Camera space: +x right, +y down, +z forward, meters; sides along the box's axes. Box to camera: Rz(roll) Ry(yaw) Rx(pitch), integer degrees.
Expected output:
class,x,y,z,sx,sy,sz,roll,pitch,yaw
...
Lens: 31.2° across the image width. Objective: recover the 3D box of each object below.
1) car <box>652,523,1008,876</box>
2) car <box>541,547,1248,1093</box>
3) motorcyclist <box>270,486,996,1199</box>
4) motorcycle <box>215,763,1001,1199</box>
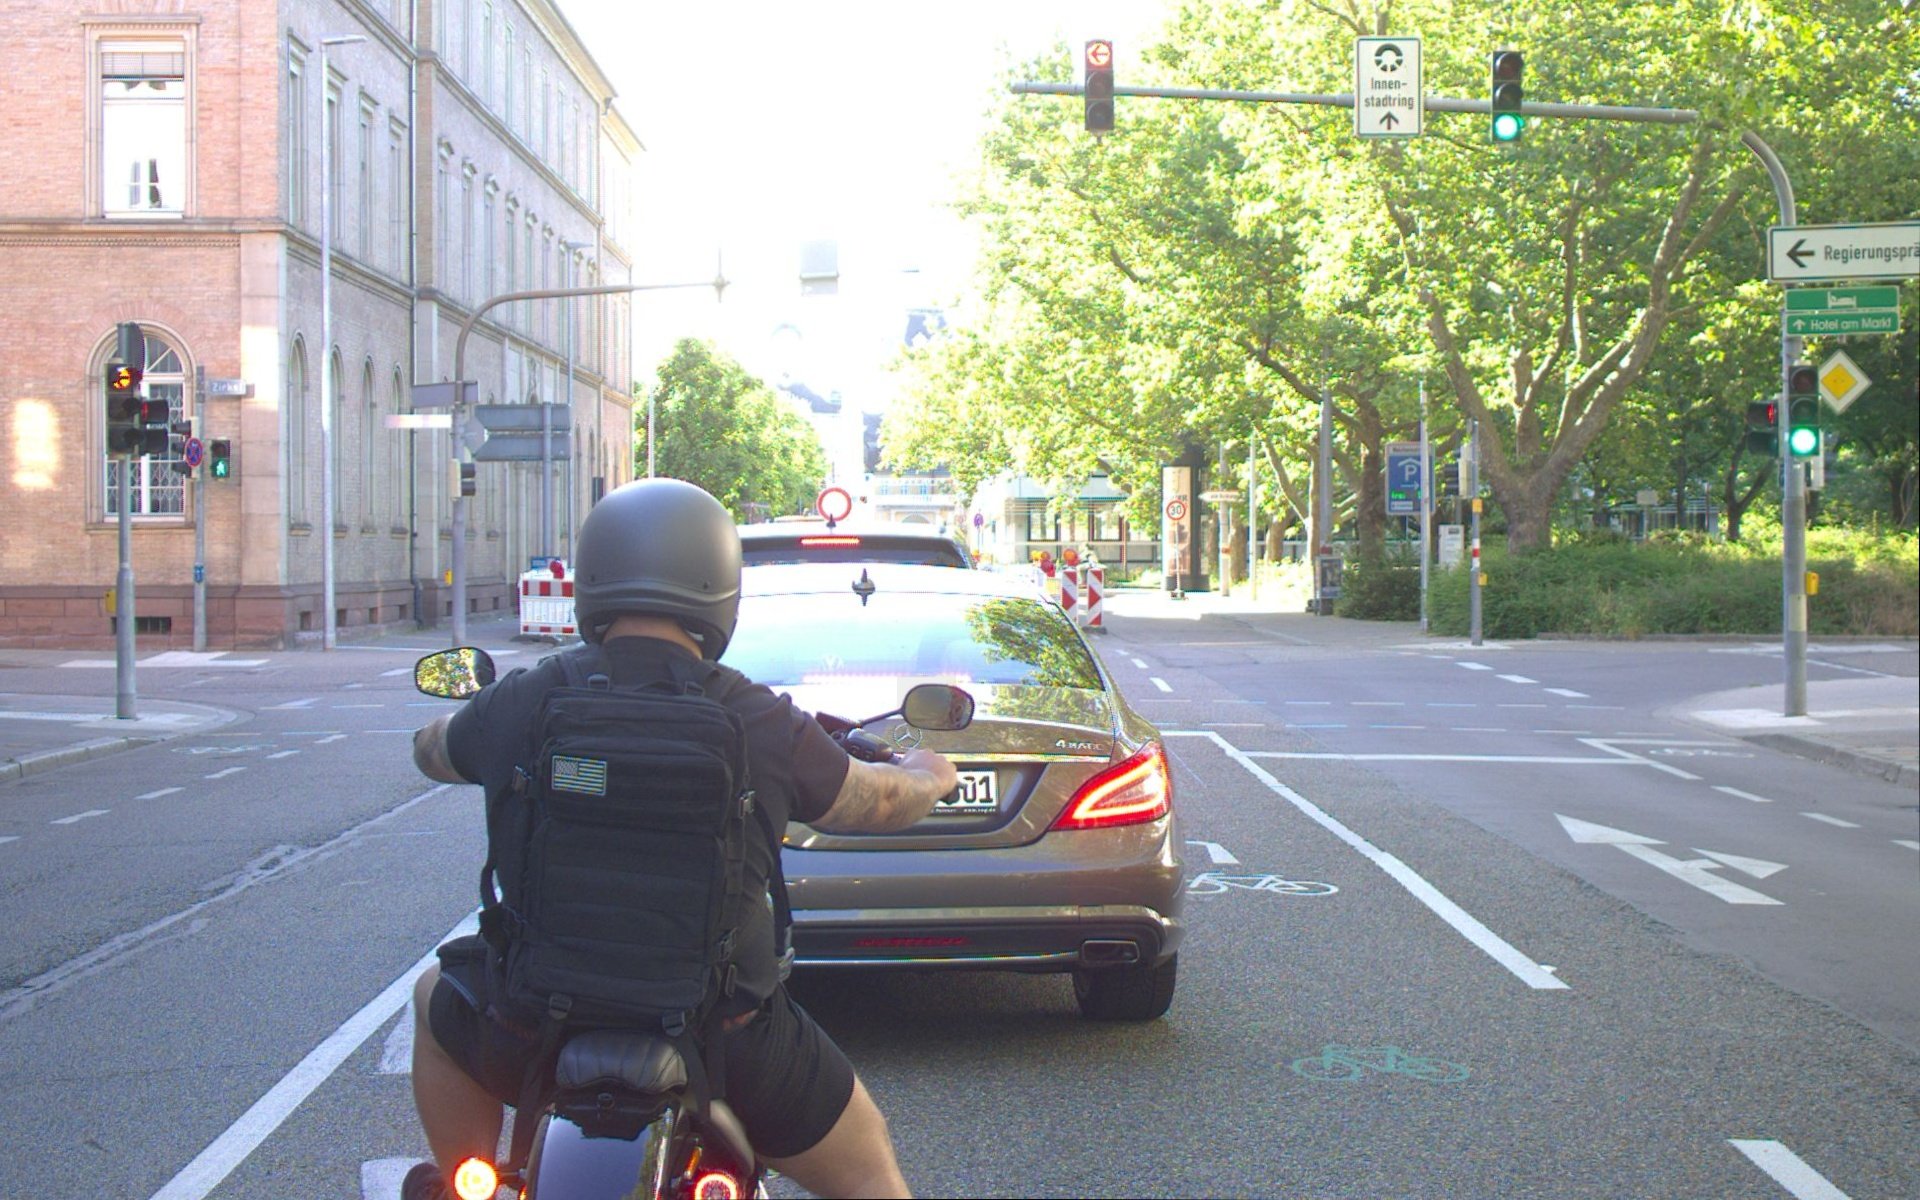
class,x,y,z,sx,sy,sz,roll,pitch,yaw
car,-0.638,0.411,17.763,1.612,1.602,4.329,0,1,-1
car,-0.432,0.561,11.597,1.945,1.468,4.363,0,1,-7
motorcyclist,-0.453,0.627,5.403,0.989,1.591,1.404,0,1,-1
motorcycle,-0.456,0.882,5.561,0.989,1.075,2.452,0,1,-1
